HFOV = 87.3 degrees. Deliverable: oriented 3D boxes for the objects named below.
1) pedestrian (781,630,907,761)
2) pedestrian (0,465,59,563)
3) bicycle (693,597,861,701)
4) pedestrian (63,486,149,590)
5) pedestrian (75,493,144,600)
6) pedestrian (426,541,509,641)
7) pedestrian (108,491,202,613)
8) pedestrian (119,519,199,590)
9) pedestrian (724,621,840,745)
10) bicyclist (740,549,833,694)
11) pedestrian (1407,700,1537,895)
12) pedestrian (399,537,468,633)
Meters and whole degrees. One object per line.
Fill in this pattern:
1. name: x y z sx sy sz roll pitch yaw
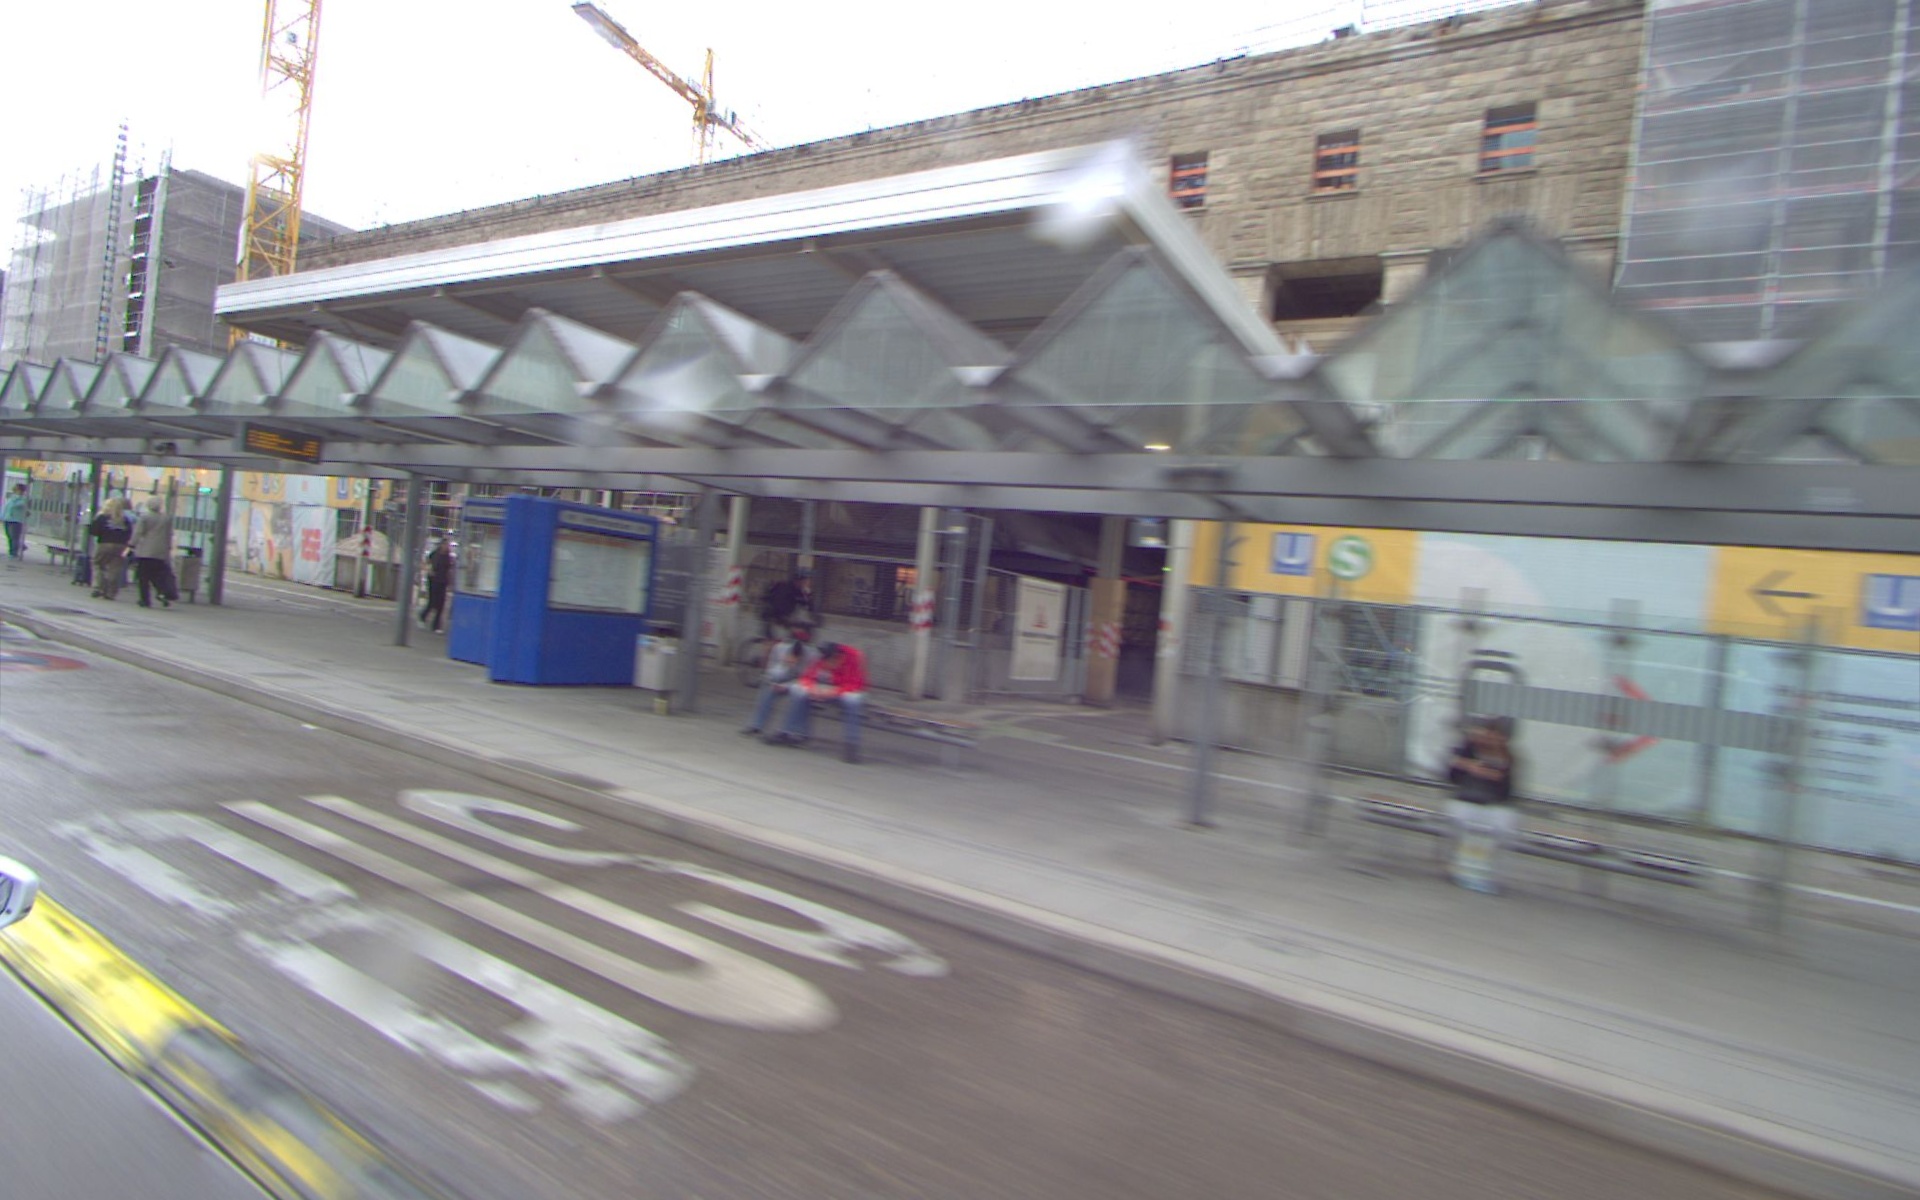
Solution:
1. pedestrian: -1.079 0.878 9.412 0.795 1.078 0.728 7 1 32
2. pedestrian: -21.330 -1.947 22.759 0.911 2.075 0.803 7 0 -8
3. bicycle: -2.721 0.702 14.851 2.365 1.213 0.816 7 0 30
4. pedestrian: -15.182 -1.093 17.883 0.791 1.680 0.809 7 -1 32
5. pedestrian: -13.394 -0.836 15.845 0.717 1.585 0.521 7 1 31
6. pedestrian: -8.784 -0.155 17.955 0.732 1.626 0.907 7 -1 32
7. pedestrian: -12.155 -0.717 15.193 0.808 1.714 0.763 7 1 31
8. pedestrian: -16.072 -0.901 20.184 0.827 1.245 0.915 7 -1 32
9. pedestrian: -1.728 0.797 9.803 0.697 1.078 0.728 7 1 32
10. bicyclist: -2.538 0.317 14.766 0.804 2.006 0.823 7 1 30
11. pedestrian: 3.643 1.359 7.144 0.655 1.201 0.665 7 1 32
12. pedestrian: -9.490 -0.256 18.129 0.717 1.628 0.707 7 1 32
